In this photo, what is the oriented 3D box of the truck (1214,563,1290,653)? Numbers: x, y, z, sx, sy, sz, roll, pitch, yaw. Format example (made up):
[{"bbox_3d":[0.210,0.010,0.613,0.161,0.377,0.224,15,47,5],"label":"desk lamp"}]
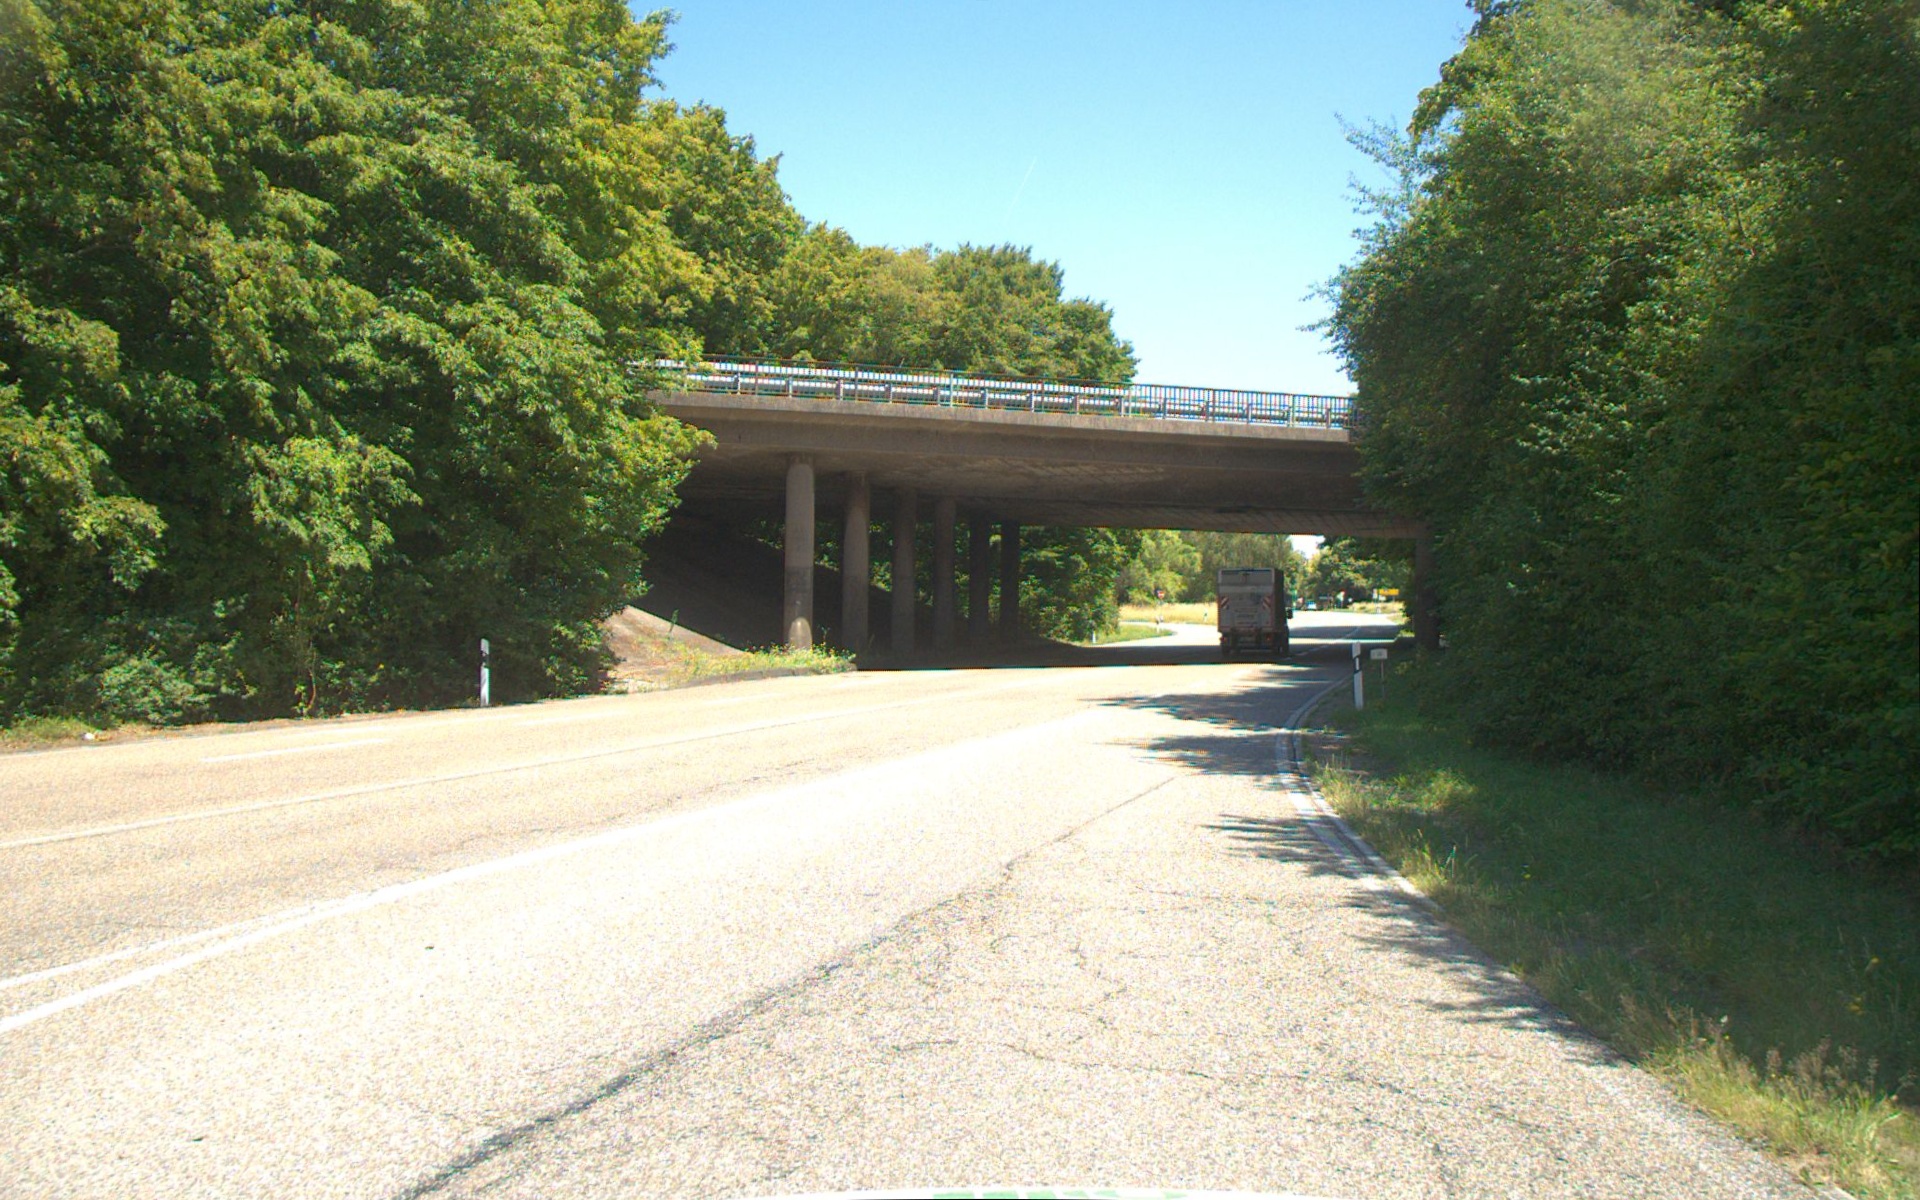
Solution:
[{"bbox_3d":[10.481,0.295,59.028,2.193,3.037,5.898,0,-1,15],"label":"truck"}]
